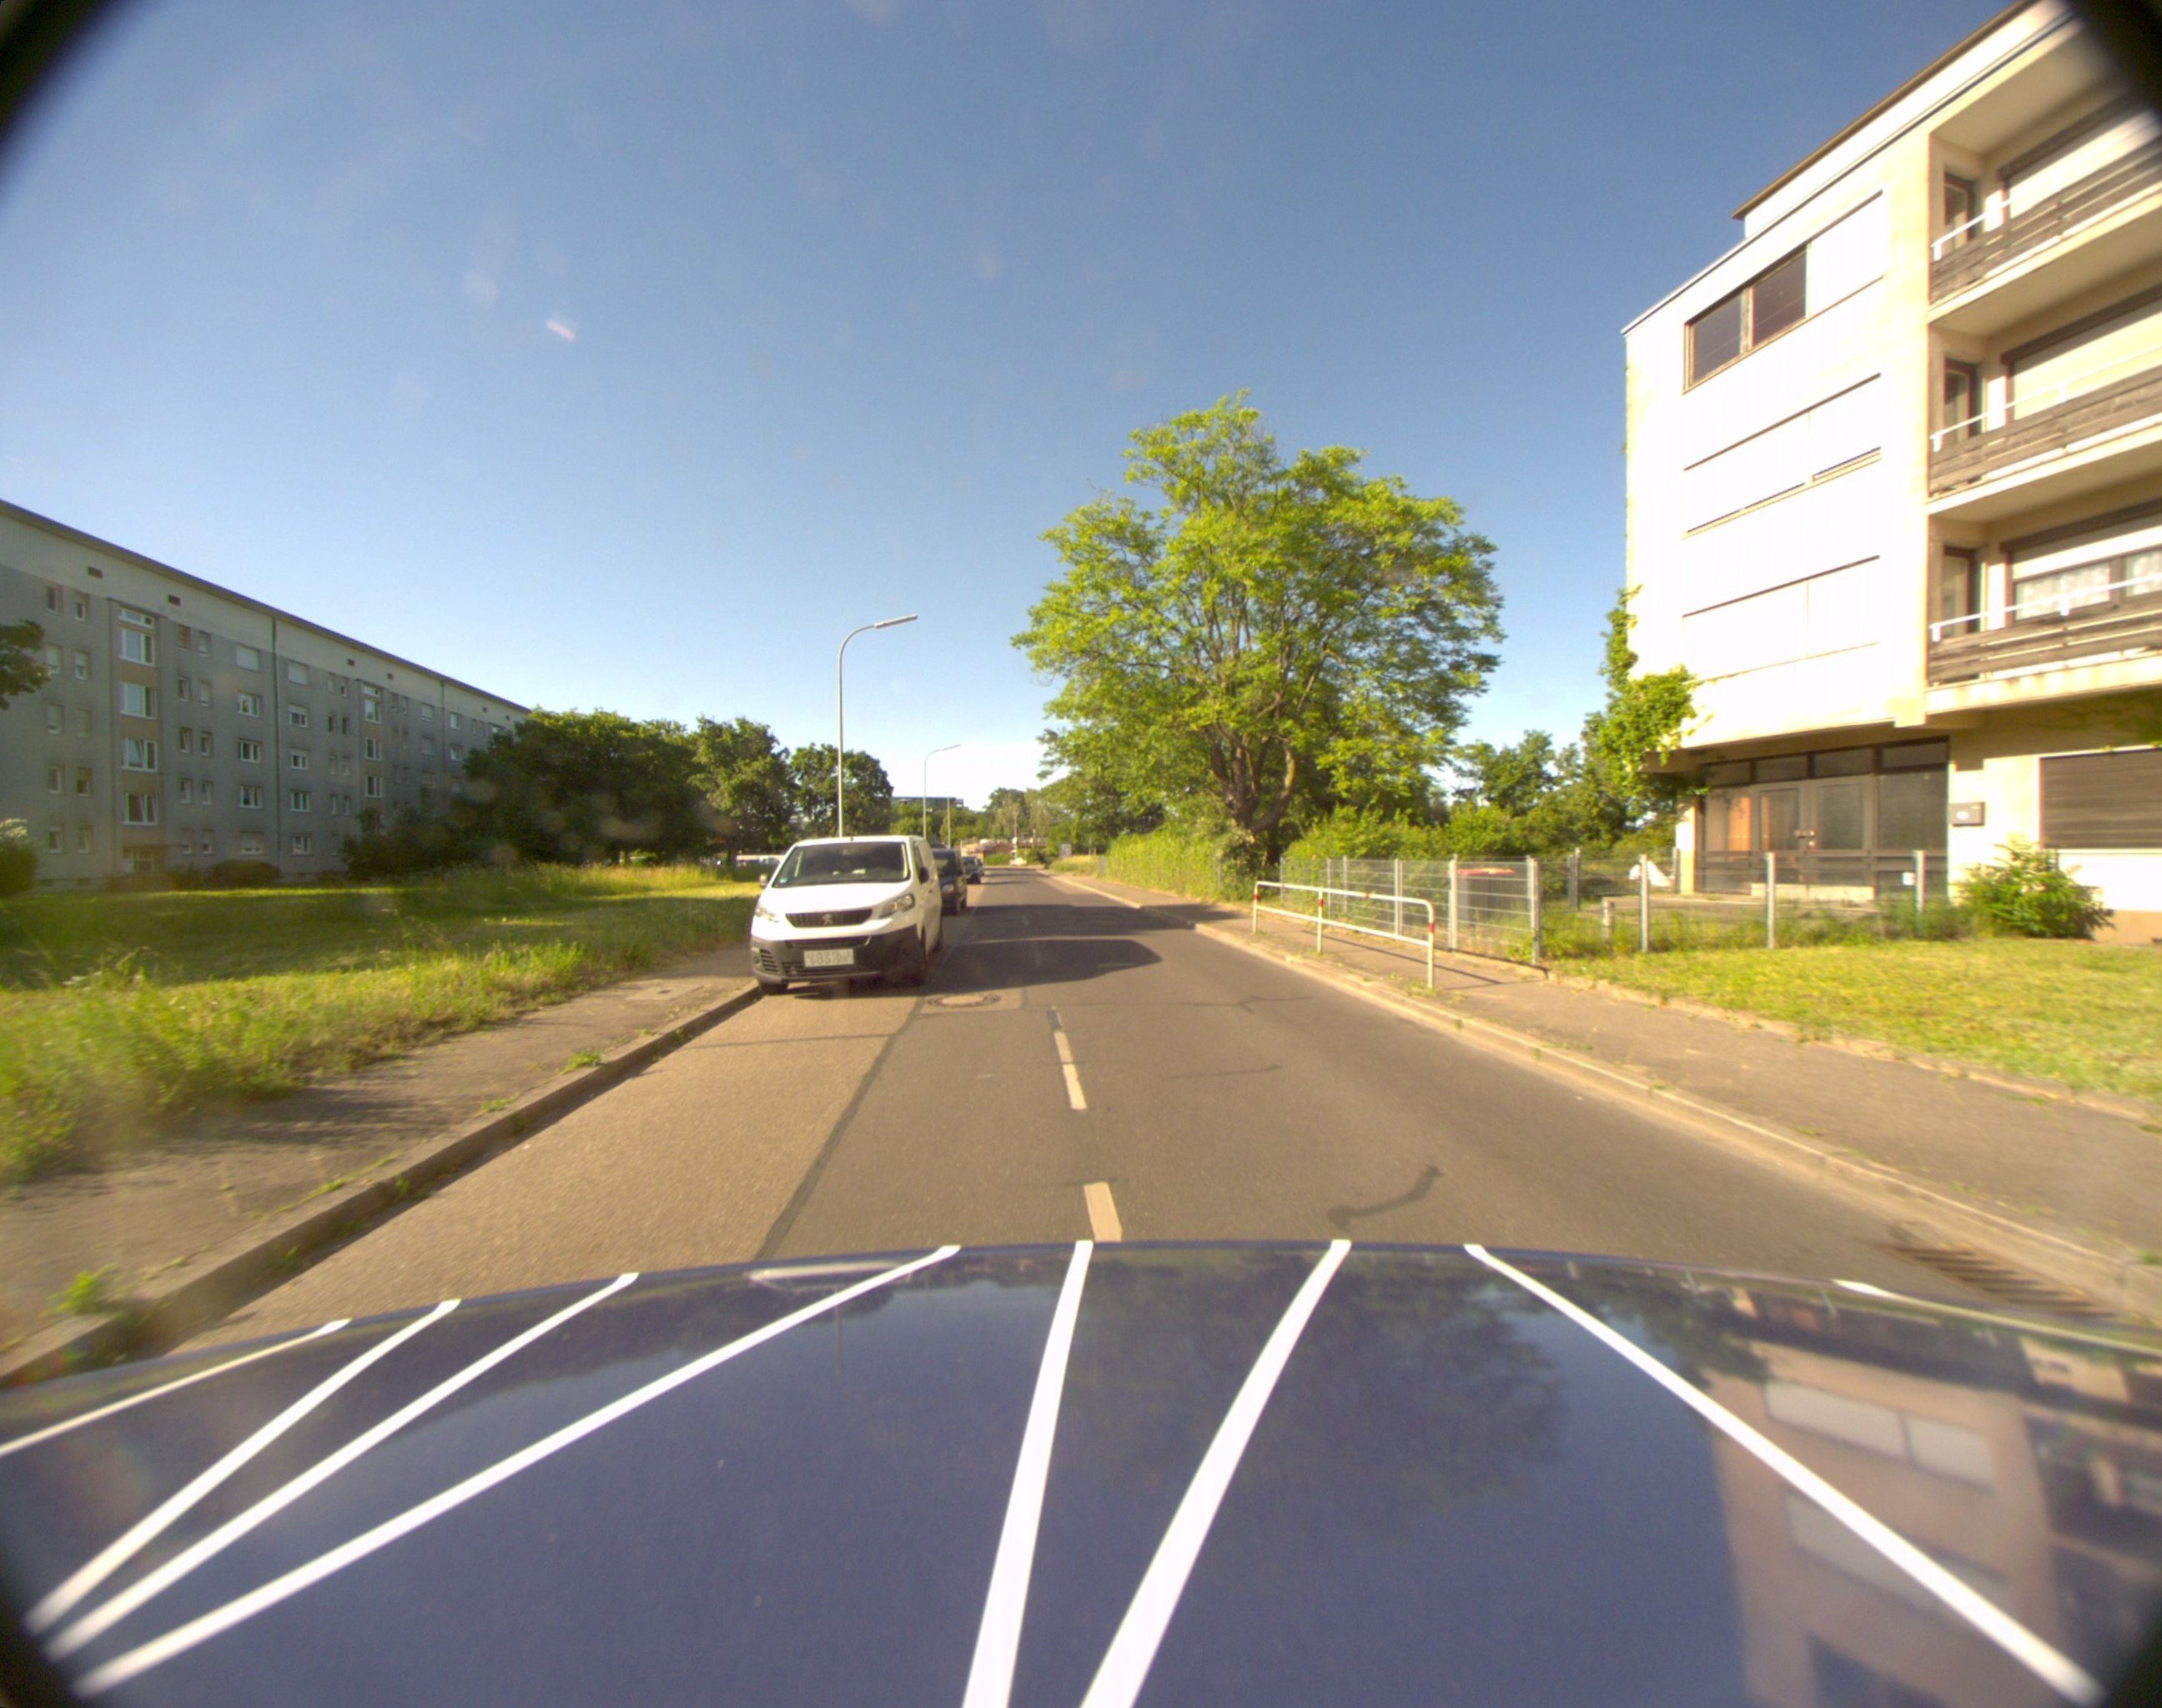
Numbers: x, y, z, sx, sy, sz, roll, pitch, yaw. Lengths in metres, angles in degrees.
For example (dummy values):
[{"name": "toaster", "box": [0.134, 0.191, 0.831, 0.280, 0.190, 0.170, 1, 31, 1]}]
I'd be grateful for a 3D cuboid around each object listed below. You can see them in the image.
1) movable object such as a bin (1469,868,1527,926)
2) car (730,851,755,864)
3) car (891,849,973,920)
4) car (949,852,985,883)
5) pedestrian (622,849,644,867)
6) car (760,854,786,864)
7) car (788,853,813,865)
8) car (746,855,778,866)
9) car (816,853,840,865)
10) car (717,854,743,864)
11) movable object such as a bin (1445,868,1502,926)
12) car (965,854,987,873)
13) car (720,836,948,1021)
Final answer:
[{"name": "movable object such as a bin", "box": [7.698, 0.780, 14.035, 0.623, 1.018, 0.710, 0, 1, -10]}, {"name": "car", "box": [-53.559, 0.548, 120.242, 1.998, 2.002, 4.001, 0, 0, 5]}, {"name": "car", "box": [-4.034, 0.754, 21.137, 1.702, 1.720, 4.082, -2, 0, -4]}, {"name": "car", "box": [-6.432, 0.726, 42.961, 1.845, 1.642, 4.465, -2, 0, -9]}, {"name": "pedestrian", "box": [-50.629, 0.476, 85.849, 1.490, 2.019, 1.698, 0, 0, -4]}, {"name": "car", "box": [-48.407, 0.785, 119.481, 1.954, 1.552, 4.002, 0, 0, 7]}, {"name": "car", "box": [-43.901, 0.722, 118.866, 1.954, 1.763, 4.001, 0, 2, 7]}, {"name": "car", "box": [-45.235, 0.946, 107.722, 3.634, 1.515, 2.002, 0, 0, 11]}, {"name": "car", "box": [-39.245, 0.761, 117.791, 1.954, 1.763, 4.002, 0, 0, 7]}, {"name": "car", "box": [-55.814, 0.737, 120.882, 1.954, 1.552, 4.002, 0, 0, 7]}, {"name": "movable object such as a bin", "box": [7.190, 0.778, 13.927, 0.623, 1.018, 0.710, 0, 1, -10]}, {"name": "car", "box": [-8.703, 0.766, 63.112, 1.657, 1.471, 3.914, -2, 0, -7]}, {"name": "car", "box": [-3.000, 0.762, 10.397, 1.921, 1.861, 4.862, -2, 1, -6]}]
